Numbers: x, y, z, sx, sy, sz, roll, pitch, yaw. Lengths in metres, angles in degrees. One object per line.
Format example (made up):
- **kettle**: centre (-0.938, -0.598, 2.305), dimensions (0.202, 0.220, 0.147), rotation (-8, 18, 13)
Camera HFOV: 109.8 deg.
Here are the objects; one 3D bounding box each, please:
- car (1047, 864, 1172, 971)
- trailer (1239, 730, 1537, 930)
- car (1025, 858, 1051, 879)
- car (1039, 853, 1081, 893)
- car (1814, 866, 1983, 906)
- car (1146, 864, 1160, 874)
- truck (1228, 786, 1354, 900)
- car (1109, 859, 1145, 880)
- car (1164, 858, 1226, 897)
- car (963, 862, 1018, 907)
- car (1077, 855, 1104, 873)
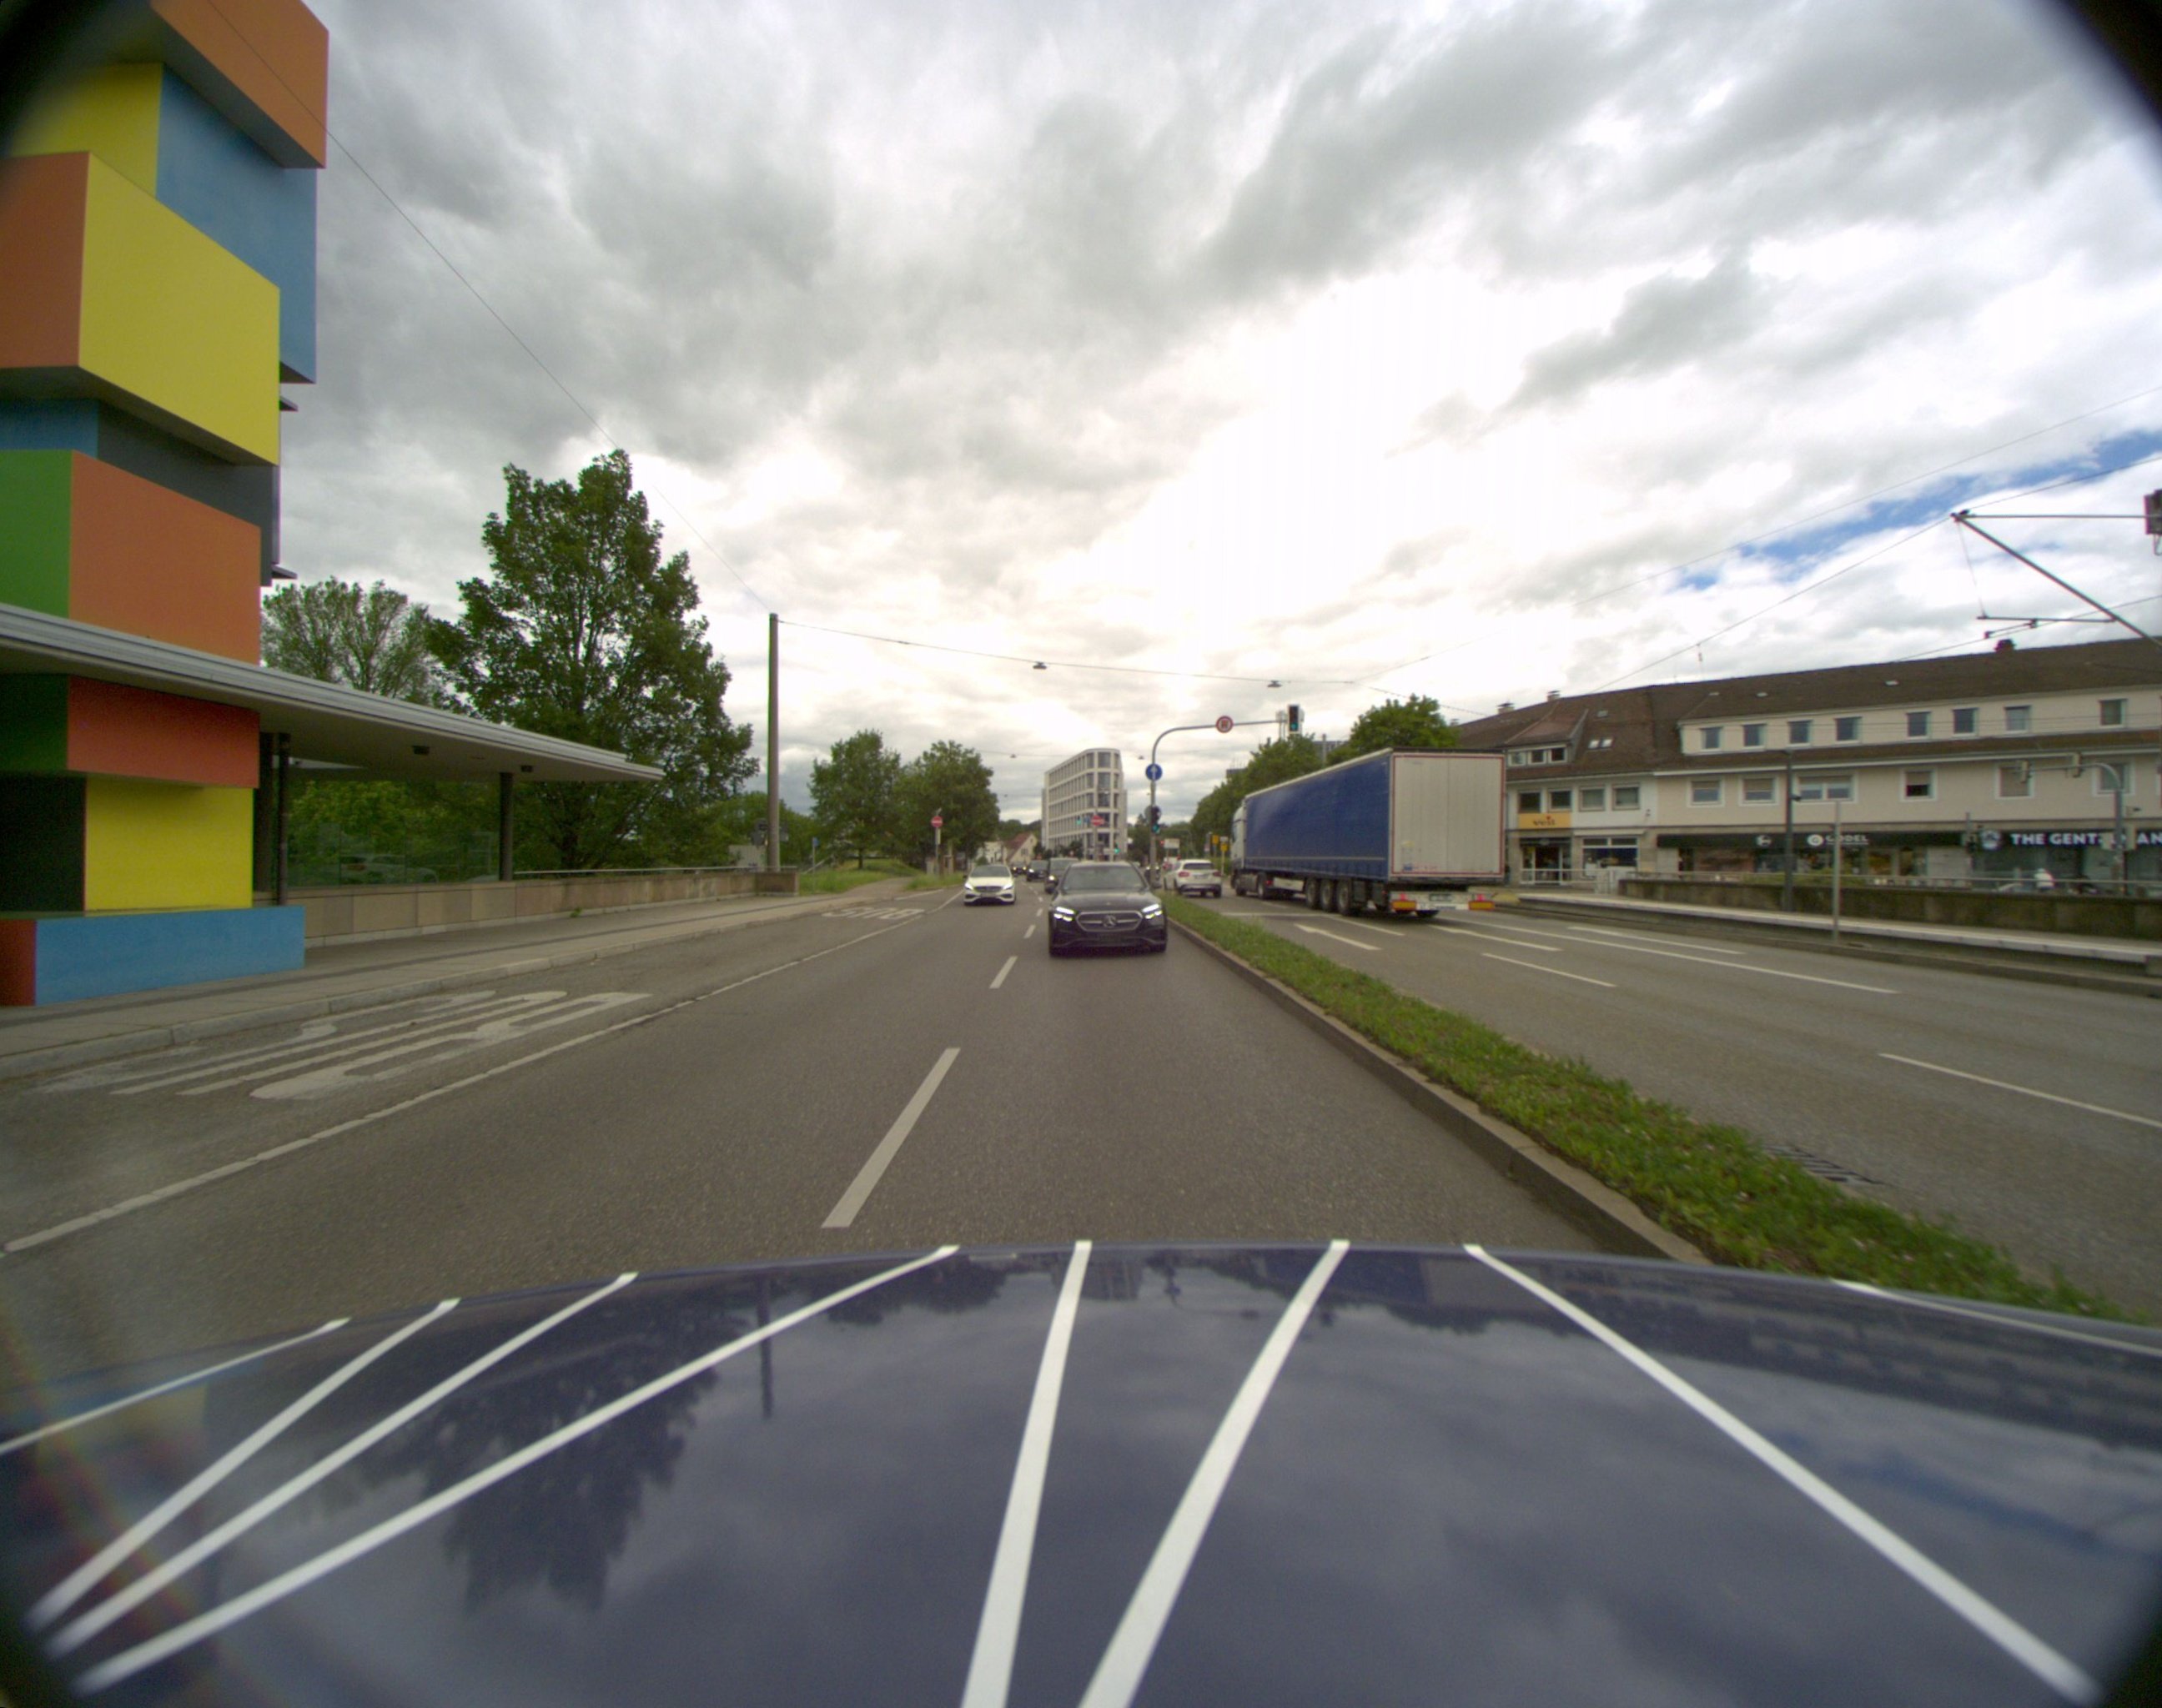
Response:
- **car**: centre (0.408, 0.974, 13.718), dimensions (1.872, 1.542, 4.773), rotation (0, 0, 0)
- **trailer**: centre (8.094, -0.458, 23.612), dimensions (3.110, 4.244, 14.846), rotation (0, 0, -1)
- **car**: centre (-3.075, 1.004, 55.075), dimensions (1.735, 1.474, 4.368), rotation (-1, 0, -1)
- **car**: centre (-0.914, 0.821, 35.518), dimensions (1.735, 1.680, 4.368), rotation (-1, 1, 1)
- **car**: centre (33.113, 1.277, 30.931), dimensions (4.354, 1.507, 1.795), rotation (0, 0, 20)
- **car**: centre (10.557, 2.156, 111.757), dimensions (1.953, 1.463, 4.544), rotation (0, 0, 4)
- **truck**: centre (8.001, -0.360, 29.886), dimensions (3.099, 3.998, 6.155), rotation (0, 0, -2)
- **car**: centre (3.290, 1.089, 55.165), dimensions (1.999, 1.450, 4.771), rotation (0, 0, -4)
- **car**: centre (4.590, 0.910, 31.306), dimensions (1.791, 1.507, 4.363), rotation (0, 0, -2)
- **car**: centre (-3.412, 1.070, 28.568), dimensions (1.873, 1.496, 4.770), rotation (0, 0, -7)
- **car**: centre (0.801, 0.876, 68.285), dimensions (1.917, 1.585, 4.813), rotation (0, 0, -6)
